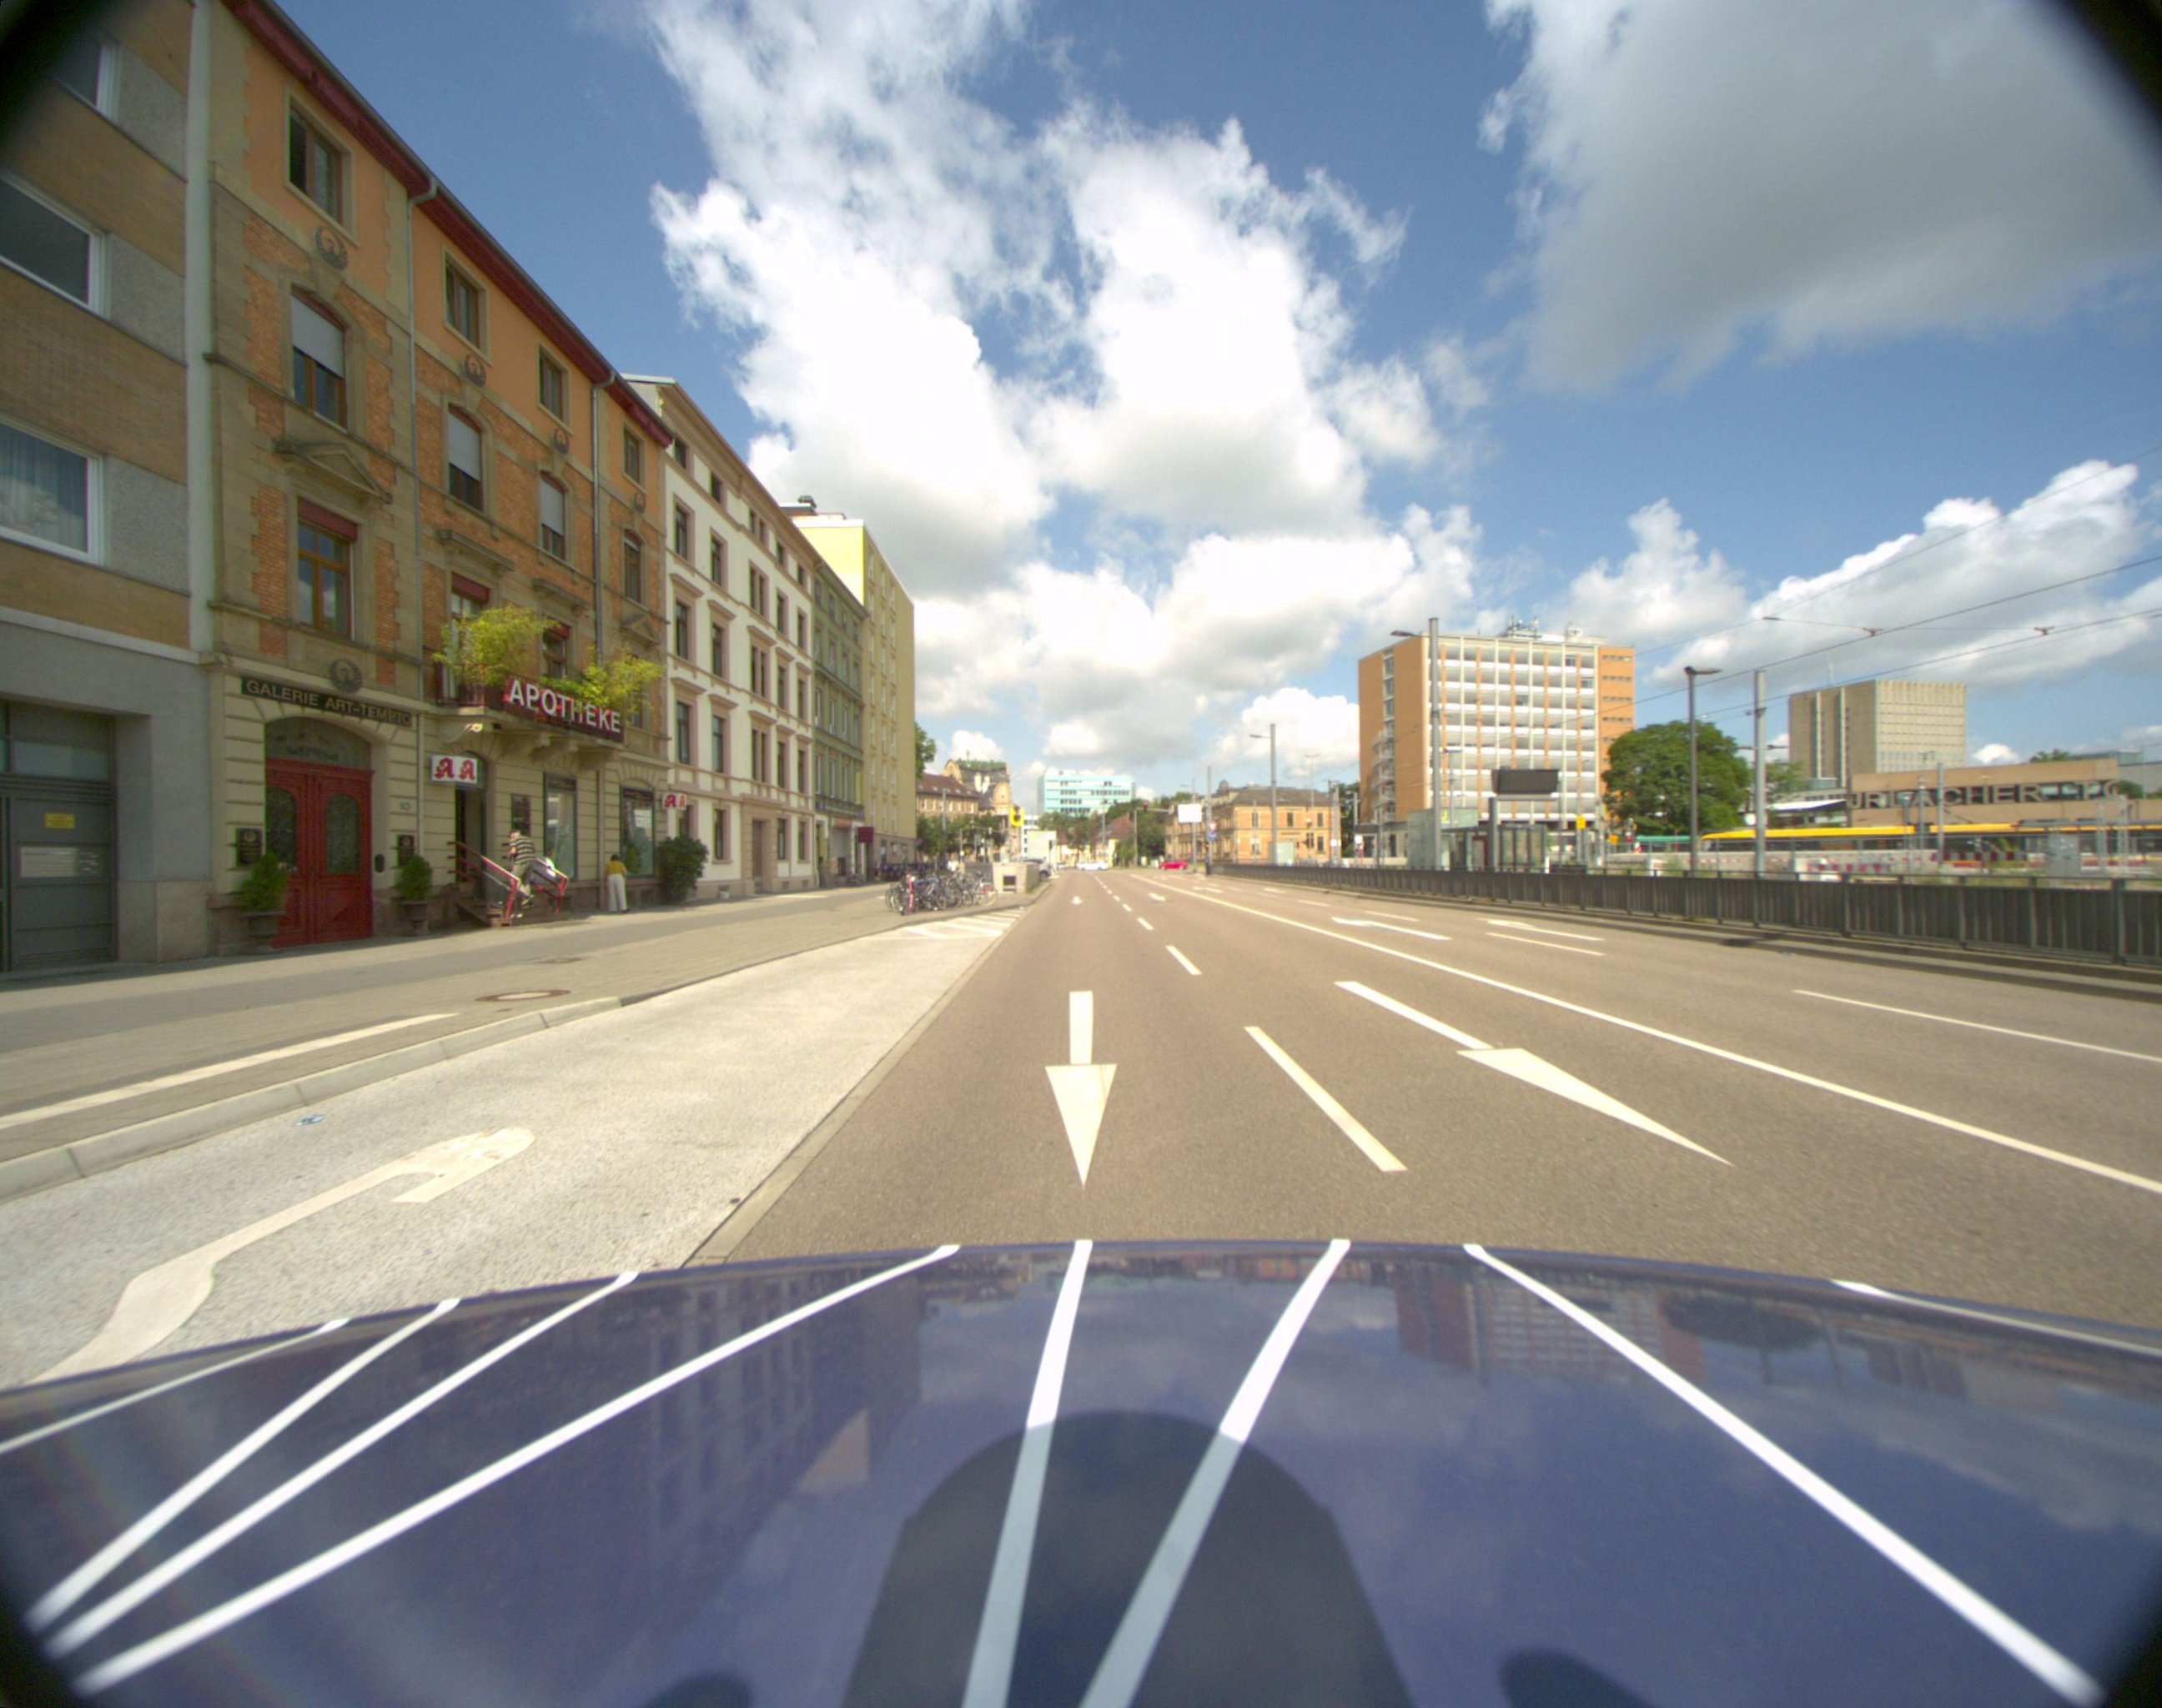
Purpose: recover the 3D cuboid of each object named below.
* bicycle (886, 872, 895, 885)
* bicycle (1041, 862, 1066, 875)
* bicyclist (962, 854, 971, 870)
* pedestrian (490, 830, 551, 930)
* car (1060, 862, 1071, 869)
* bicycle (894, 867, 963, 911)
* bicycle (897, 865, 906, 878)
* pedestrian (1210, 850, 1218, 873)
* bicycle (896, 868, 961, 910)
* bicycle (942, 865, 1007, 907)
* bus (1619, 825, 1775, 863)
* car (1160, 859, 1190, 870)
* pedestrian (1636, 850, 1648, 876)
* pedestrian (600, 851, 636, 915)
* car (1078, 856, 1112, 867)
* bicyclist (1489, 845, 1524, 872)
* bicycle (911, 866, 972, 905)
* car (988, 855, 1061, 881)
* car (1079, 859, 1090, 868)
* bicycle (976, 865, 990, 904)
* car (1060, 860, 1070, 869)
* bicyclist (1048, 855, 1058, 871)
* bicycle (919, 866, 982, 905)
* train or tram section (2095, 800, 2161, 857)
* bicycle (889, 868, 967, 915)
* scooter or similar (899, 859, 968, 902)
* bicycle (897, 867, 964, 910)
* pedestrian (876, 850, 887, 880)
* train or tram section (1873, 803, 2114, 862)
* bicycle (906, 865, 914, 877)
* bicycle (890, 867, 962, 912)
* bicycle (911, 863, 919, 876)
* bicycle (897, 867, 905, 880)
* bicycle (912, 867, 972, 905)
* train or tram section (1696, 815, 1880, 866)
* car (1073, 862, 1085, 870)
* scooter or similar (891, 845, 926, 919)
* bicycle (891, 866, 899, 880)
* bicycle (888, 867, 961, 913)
[{"bbox_3d":[-13.317,1.707,53.083,0.293,0.917,1.464,-1,-1,-3],"label":"bicycle"},{"bbox_3d":[-2.423,1.320,66.839,2.098,1.099,0.545,-1,-2,4],"label":"bicycle"},{"bbox_3d":[-9.748,0.680,64.898,0.655,1.428,0.743,0,0,0],"label":"bicyclist"},{"bbox_3d":[-12.139,0.565,16.468,0.723,2.086,0.786,-1,-2,0],"label":"pedestrian"},{"bbox_3d":[-4.590,3.374,223.197,2.001,2.001,3.996,0,-2,-16],"label":"car"},{"bbox_3d":[-4.389,0.996,21.972,1.931,1.230,0.441,0,-2,-11],"label":"bicycle"},{"bbox_3d":[-13.171,1.282,55.781,0.293,0.917,1.465,-1,-2,0],"label":"bicycle"},{"bbox_3d":[11.381,0.664,65.184,0.503,2.002,0.515,-1,0,-12],"label":"pedestrian"},{"bbox_3d":[-4.708,1.072,23.443,1.931,1.230,0.441,0,-2,-13],"label":"bicycle"},{"bbox_3d":[-3.251,0.981,23.252,1.931,1.230,0.441,0,-2,-12],"label":"bicycle"},{"bbox_3d":[62.364,-0.933,77.289,12.356,3.599,2.919,-1,0,12],"label":"bus"},{"bbox_3d":[13.507,1.525,109.549,4.057,1.458,1.649,-1,-2,14],"label":"car"},{"bbox_3d":[38.871,0.602,52.628,0.561,1.783,0.722,0,0,42],"label":"pedestrian"},{"bbox_3d":[-12.501,0.781,20.517,0.580,1.687,0.612,-1,-2,0],"label":"pedestrian"},{"bbox_3d":[2.113,1.091,113.221,4.663,1.420,1.767,-2,-2,24],"label":"car"},{"bbox_3d":[26.355,0.269,47.092,1.181,1.674,1.684,0,0,-2],"label":"bicyclist"},{"bbox_3d":[-4.558,1.034,24.868,1.929,1.230,0.441,-1,-2,2],"label":"bicycle"},{"bbox_3d":[-3.775,0.878,50.989,4.606,1.637,2.056,0,0,-43],"label":"car"},{"bbox_3d":[0.623,1.717,137.993,1.956,1.586,4.507,-1,-2,-2],"label":"car"},{"bbox_3d":[-3.319,1.032,25.586,0.441,1.230,1.930,-1,-2,-8],"label":"bicycle"},{"bbox_3d":[-2.945,1.988,140.969,1.838,1.586,4.001,-1,-2,-2],"label":"car"},{"bbox_3d":[-2.492,0.784,66.847,0.783,1.327,0.395,-1,-2,8],"label":"bicyclist"},{"bbox_3d":[-4.175,1.010,24.306,1.929,1.230,0.441,-1,-2,2],"label":"bicycle"},{"bbox_3d":[72.045,-1.773,47.070,10.580,3.459,3.332,-3,-3,44],"label":"train or tram section"},{"bbox_3d":[-4.059,0.990,20.198,1.985,1.230,0.441,0,-2,-12],"label":"bicycle"},{"bbox_3d":[-5.385,0.974,27.771,2.329,1.536,0.698,-1,-2,5],"label":"scooter or similar"},{"bbox_3d":[-4.442,1.017,22.514,1.931,1.230,0.441,0,-2,-11],"label":"bicycle"},{"bbox_3d":[-13.046,0.722,49.685,0.603,2.001,0.460,-1,-2,0],"label":"pedestrian"},{"bbox_3d":[64.428,-1.346,54.307,10.580,3.459,3.332,-3,-3,44],"label":"train or tram section"},{"bbox_3d":[-12.444,1.248,55.432,0.293,0.917,1.464,-1,-2,-3],"label":"bicycle"},{"bbox_3d":[-4.357,0.995,21.395,1.930,1.230,0.441,-1,-2,-6],"label":"bicycle"},{"bbox_3d":[-12.501,1.162,57.286,0.293,0.917,1.464,-1,0,0],"label":"bicycle"},{"bbox_3d":[-12.545,1.360,52.899,0.293,0.917,1.464,-1,-1,-3],"label":"bicycle"},{"bbox_3d":[-4.671,1.070,25.545,1.929,1.230,0.441,-1,-2,2],"label":"bicycle"},{"bbox_3d":[56.809,-0.957,61.529,10.580,3.459,3.332,-3,-3,44],"label":"train or tram section"},{"bbox_3d":[-0.509,3.150,204.834,2.001,2.001,3.996,0,-2,-16],"label":"car"},{"bbox_3d":[-4.275,0.667,18.893,0.398,1.776,1.538,0,0,4],"label":"scooter or similar"},{"bbox_3d":[-13.003,1.343,53.097,0.293,0.917,1.464,-1,-2,-3],"label":"bicycle"},{"bbox_3d":[-4.291,0.982,20.860,1.930,1.230,0.441,-1,-2,-8],"label":"bicycle"}]
